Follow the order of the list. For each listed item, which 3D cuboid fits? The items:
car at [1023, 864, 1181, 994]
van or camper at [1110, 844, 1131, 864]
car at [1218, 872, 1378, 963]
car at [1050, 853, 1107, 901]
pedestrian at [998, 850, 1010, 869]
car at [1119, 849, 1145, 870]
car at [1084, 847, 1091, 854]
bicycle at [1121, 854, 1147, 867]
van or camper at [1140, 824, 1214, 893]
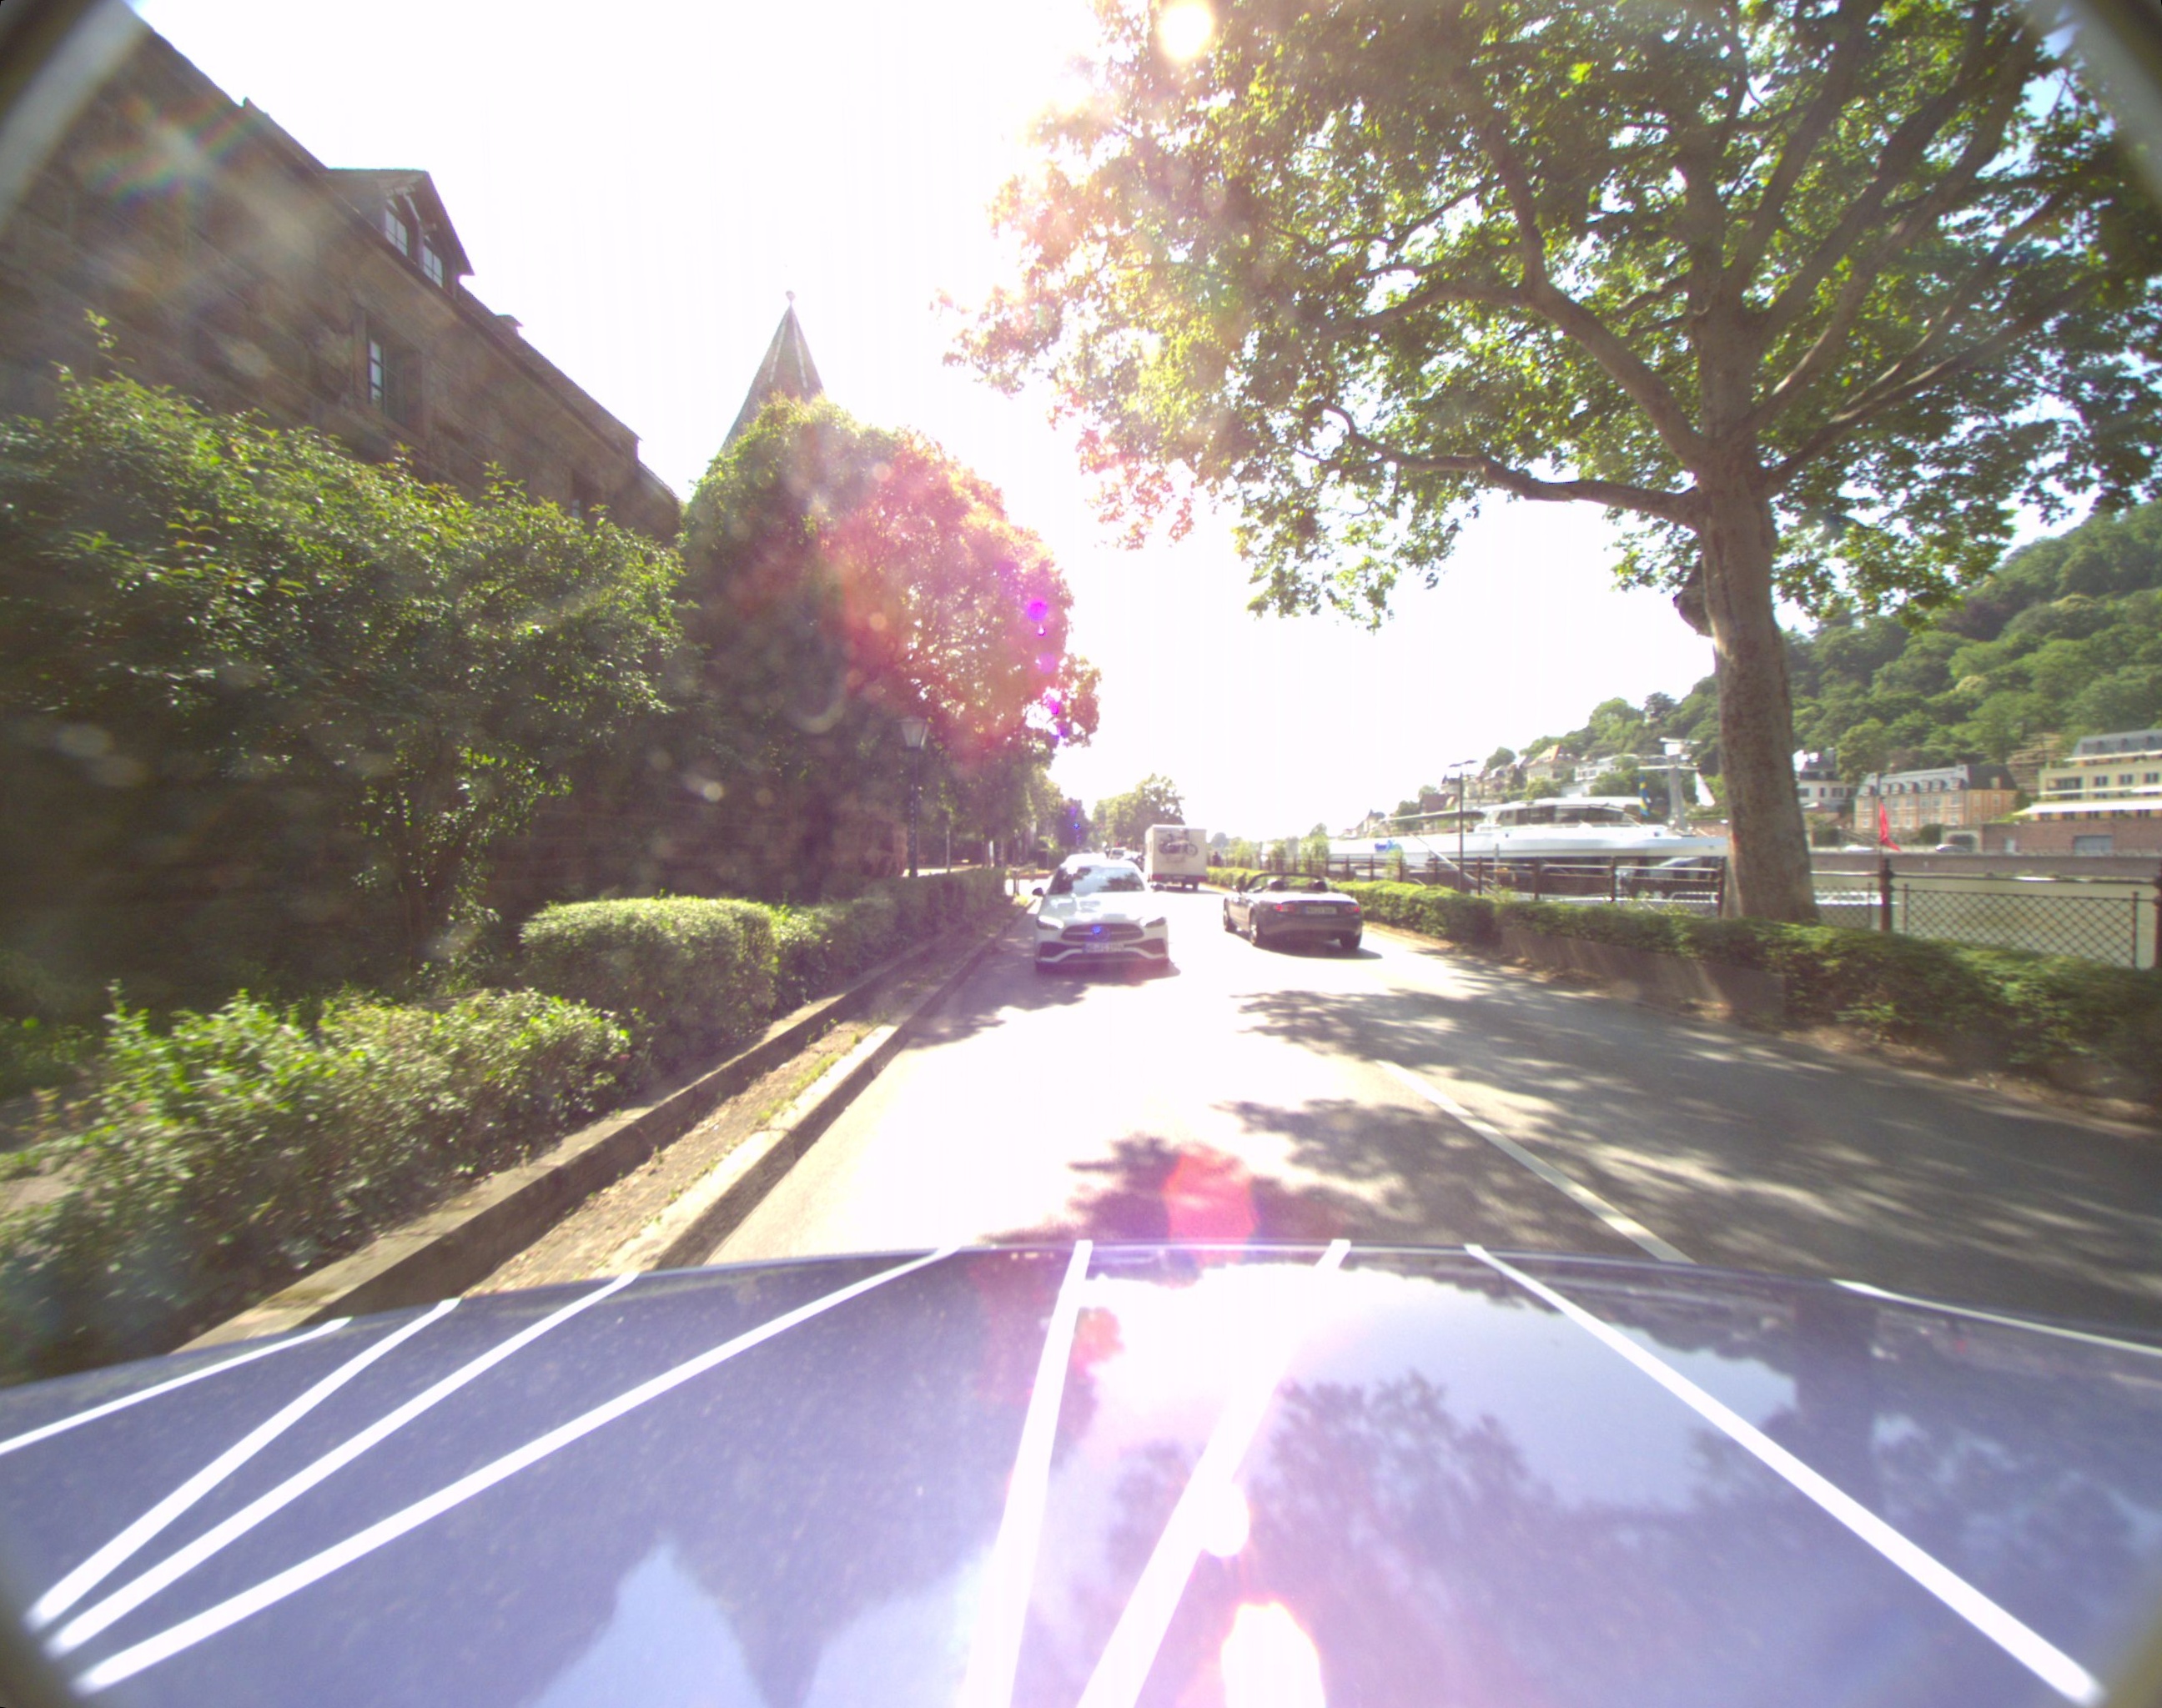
[{"bbox_3d":[0.253,0.916,11.191,1.829,1.418,4.358,-1,0,0],"label":"car"},{"bbox_3d":[4.009,-0.017,77.450,1.923,1.975,4.000,1,0,1],"label":"van or camper"},{"bbox_3d":[3.585,0.999,13.196,1.702,1.204,3.485,2,1,-1],"label":"car"},{"bbox_3d":[-0.076,0.746,26.866,1.854,1.543,3.848,1,1,0],"label":"car"},{"bbox_3d":[-5.036,0.338,49.857,0.632,1.186,0.747,-2,1,2],"label":"pedestrian"},{"bbox_3d":[3.998,0.400,60.309,1.826,1.603,3.959,1,0,0],"label":"car"},{"bbox_3d":[2.022,-1.075,221.863,1.923,1.975,4.000,1,0,1],"label":"car"},{"bbox_3d":[4.043,0.505,57.842,1.873,0.921,0.955,-2,1,1],"label":"bicycle"},{"bbox_3d":[4.022,0.135,33.083,2.328,2.647,6.263,1,1,0],"label":"van or camper"}]
